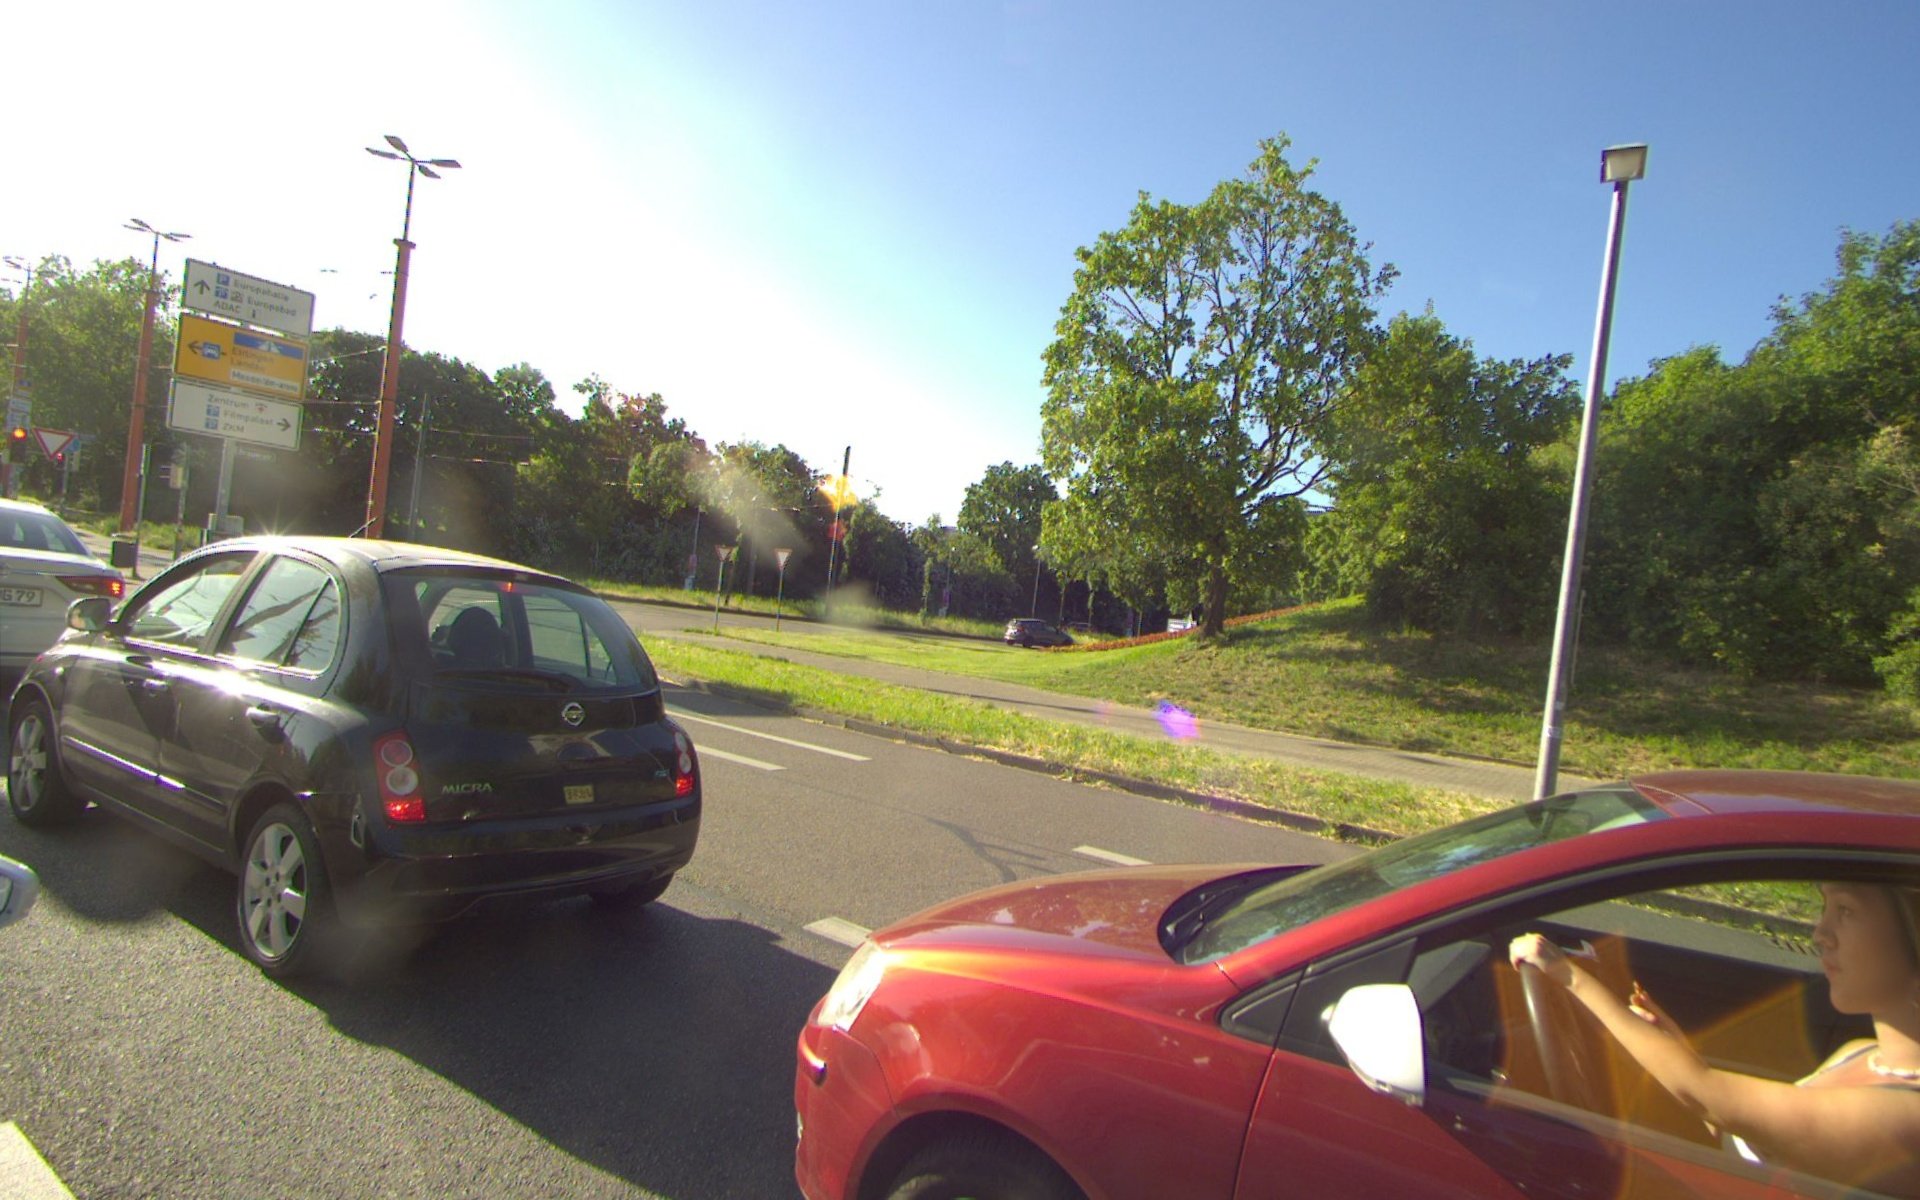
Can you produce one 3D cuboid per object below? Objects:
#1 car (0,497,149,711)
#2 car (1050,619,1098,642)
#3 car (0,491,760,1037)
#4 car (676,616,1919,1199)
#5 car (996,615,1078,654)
[{"bbox_3d":[-8.343,-0.164,7.980,4.077,1.472,1.717,7,-1,33],"label":"car"},{"bbox_3d":[9.375,2.512,82.731,3.577,1.383,1.689,8,-1,-32],"label":"car"},{"bbox_3d":[-2.818,0.463,4.627,3.457,1.524,1.558,7,0,32],"label":"car"},{"bbox_3d":[1.374,0.989,1.896,3.634,1.434,1.624,7,-1,34],"label":"car"},{"bbox_3d":[3.955,1.754,51.553,3.854,1.486,1.736,8,-1,-33],"label":"car"}]
